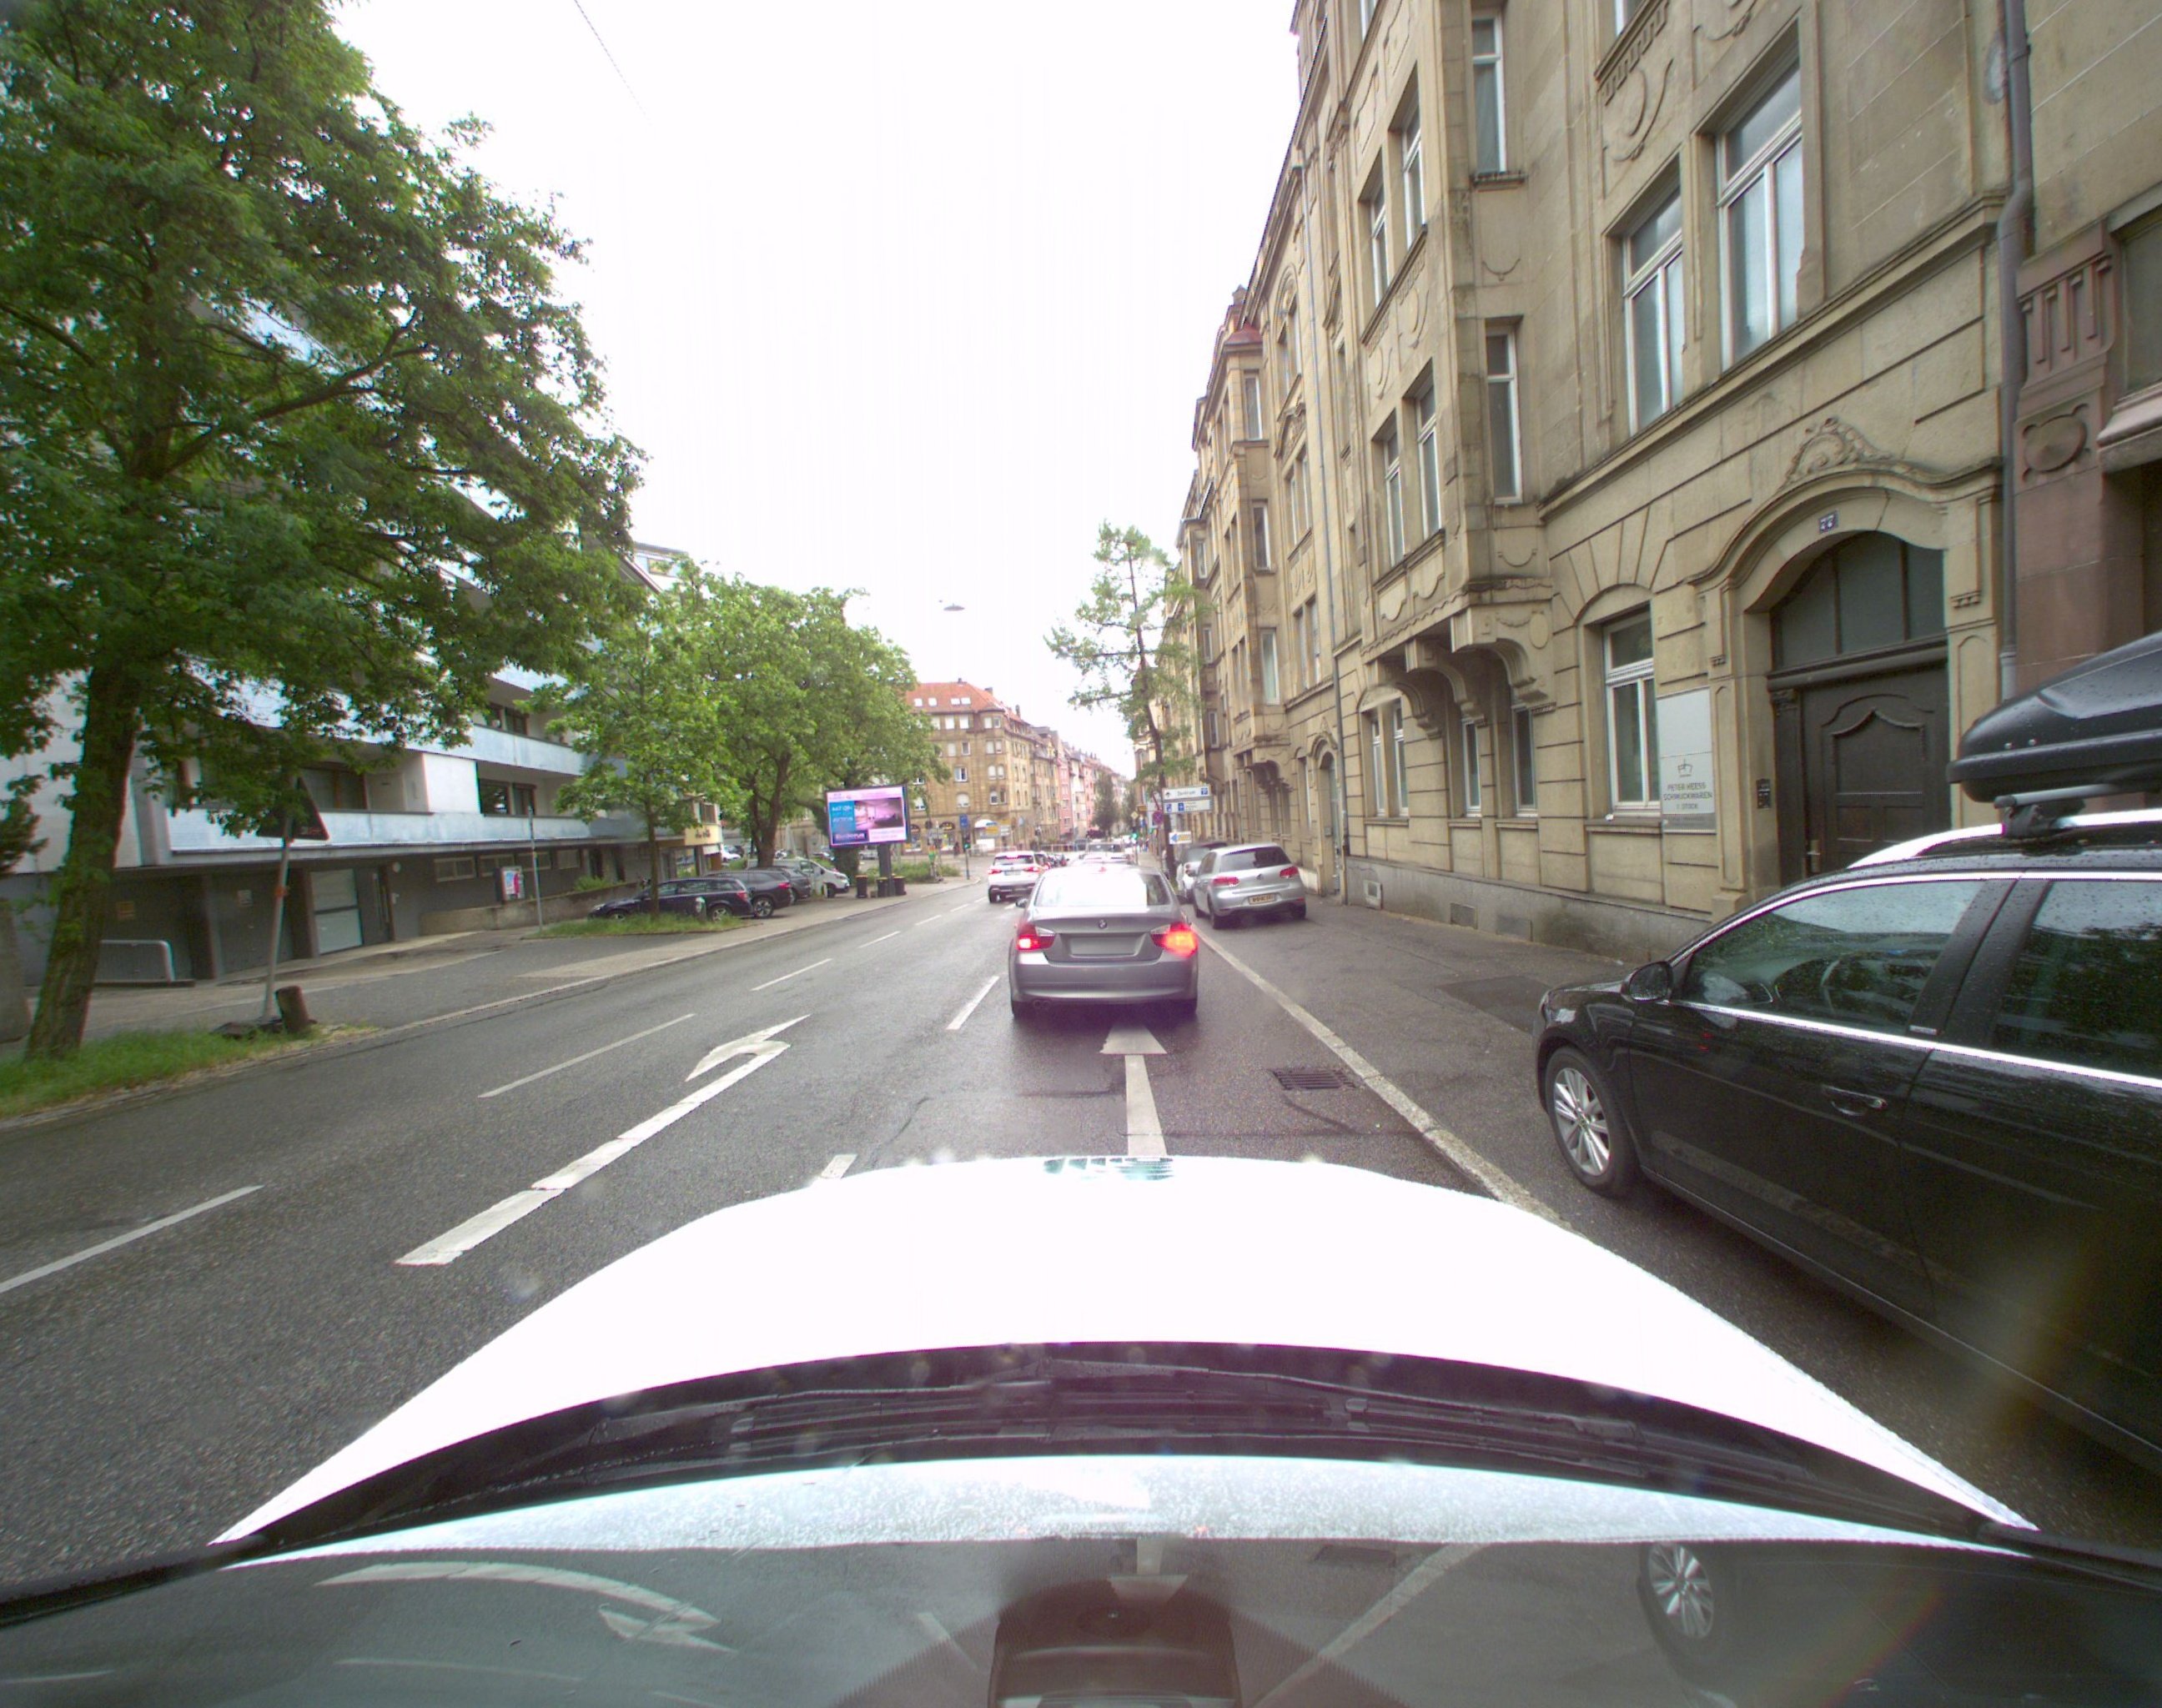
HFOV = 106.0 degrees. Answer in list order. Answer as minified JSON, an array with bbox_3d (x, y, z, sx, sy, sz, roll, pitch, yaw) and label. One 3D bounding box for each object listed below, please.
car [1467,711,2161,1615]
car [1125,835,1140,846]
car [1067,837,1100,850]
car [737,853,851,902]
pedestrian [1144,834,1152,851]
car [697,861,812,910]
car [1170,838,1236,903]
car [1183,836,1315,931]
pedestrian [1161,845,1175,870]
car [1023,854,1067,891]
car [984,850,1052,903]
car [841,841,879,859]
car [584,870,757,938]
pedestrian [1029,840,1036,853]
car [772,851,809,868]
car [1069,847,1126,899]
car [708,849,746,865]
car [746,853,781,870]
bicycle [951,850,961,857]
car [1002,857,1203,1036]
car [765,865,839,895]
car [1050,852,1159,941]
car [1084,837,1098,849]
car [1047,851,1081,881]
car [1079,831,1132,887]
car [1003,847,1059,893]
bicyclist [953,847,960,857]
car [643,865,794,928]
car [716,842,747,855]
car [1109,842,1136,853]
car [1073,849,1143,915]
[{"bbox_3d":[2.773,0.465,1.915,1.753,1.651,4.101,-7,0,2],"label":"car"},{"bbox_3d":[7.620,-2.017,120.856,1.983,1.578,4.008,0,-1,7],"label":"car"},{"bbox_3d":[0.449,-1.612,130.278,5.158,2.014,2.699,0,-1,1],"label":"car"},{"bbox_3d":[-14.037,1.116,40.016,5.076,2.105,1.979,-3,0,-19],"label":"car"},{"bbox_3d":[7.404,-1.272,90.162,0.740,1.910,0.659,-3,0,1],"label":"pedestrian"},{"bbox_3d":[-13.854,1.323,34.818,4.370,1.784,1.927,-3,0,-19],"label":"car"},{"bbox_3d":[3.342,0.424,22.753,1.295,1.543,2.977,-7,0,1],"label":"car"},{"bbox_3d":[3.206,0.510,16.319,1.753,1.451,4.001,-7,0,1],"label":"car"},{"bbox_3d":[5.381,0.211,50.513,0.629,1.508,0.693,-7,0,1],"label":"pedestrian"},{"bbox_3d":[-1.765,0.887,40.998,1.752,1.707,4.003,-2,0,3],"label":"car"},{"bbox_3d":[-2.082,0.696,27.929,1.861,1.625,4.001,-2,0,1],"label":"car"},{"bbox_3d":[-26.496,-0.505,97.607,4.238,2.101,2.013,0,2,30],"label":"car"},{"bbox_3d":[-12.213,1.436,24.586,4.373,1.574,1.930,-4,0,-21],"label":"car"},{"bbox_3d":[-6.078,-0.952,101.708,0.727,1.577,0.530,-3,0,10],"label":"pedestrian"},{"bbox_3d":[-36.977,0.649,103.684,4.238,2.101,2.013,0,2,30],"label":"car"},{"bbox_3d":[0.631,0.571,27.605,1.752,1.567,4.003,-2,0,3],"label":"car"},{"bbox_3d":[-41.857,0.382,96.283,4.195,1.726,2.013,-2,3,31],"label":"car"},{"bbox_3d":[-41.345,0.968,106.064,4.238,2.101,2.013,0,2,30],"label":"car"},{"bbox_3d":[-14.681,-0.039,95.802,0.569,0.858,1.527,-1,-1,13],"label":"bicycle"},{"bbox_3d":[0.271,0.775,8.549,1.617,1.383,3.618,-2,0,3],"label":"car"},{"bbox_3d":[-16.217,1.490,47.444,3.985,1.450,1.758,-3,0,-19],"label":"car"},{"bbox_3d":[0.497,0.706,15.483,1.752,1.383,4.003,-2,0,3],"label":"car"},{"bbox_3d":[1.274,-1.351,101.472,1.709,1.450,3.743,-3,0,1],"label":"car"},{"bbox_3d":[-0.980,0.711,49.718,1.752,1.707,4.003,-2,0,3],"label":"car"},{"bbox_3d":[1.023,0.201,33.605,1.986,2.106,4.002,-2,0,2],"label":"car"},{"bbox_3d":[-1.984,0.619,33.372,1.752,1.707,4.003,-2,0,3],"label":"car"},{"bbox_3d":[-14.688,-0.230,95.904,0.565,1.273,0.692,-1,-1,13],"label":"bicyclist"},{"bbox_3d":[-12.007,1.357,27.288,4.382,1.672,1.842,-4,0,-21],"label":"car"},{"bbox_3d":[-46.794,-0.738,109.127,3.949,1.689,1.738,-1,-1,29],"label":"car"},{"bbox_3d":[5.785,-0.901,114.350,1.974,1.578,4.025,-1,-1,34],"label":"car"},{"bbox_3d":[0.741,0.646,21.011,1.588,1.464,4.003,-2,0,3],"label":"car"}]
